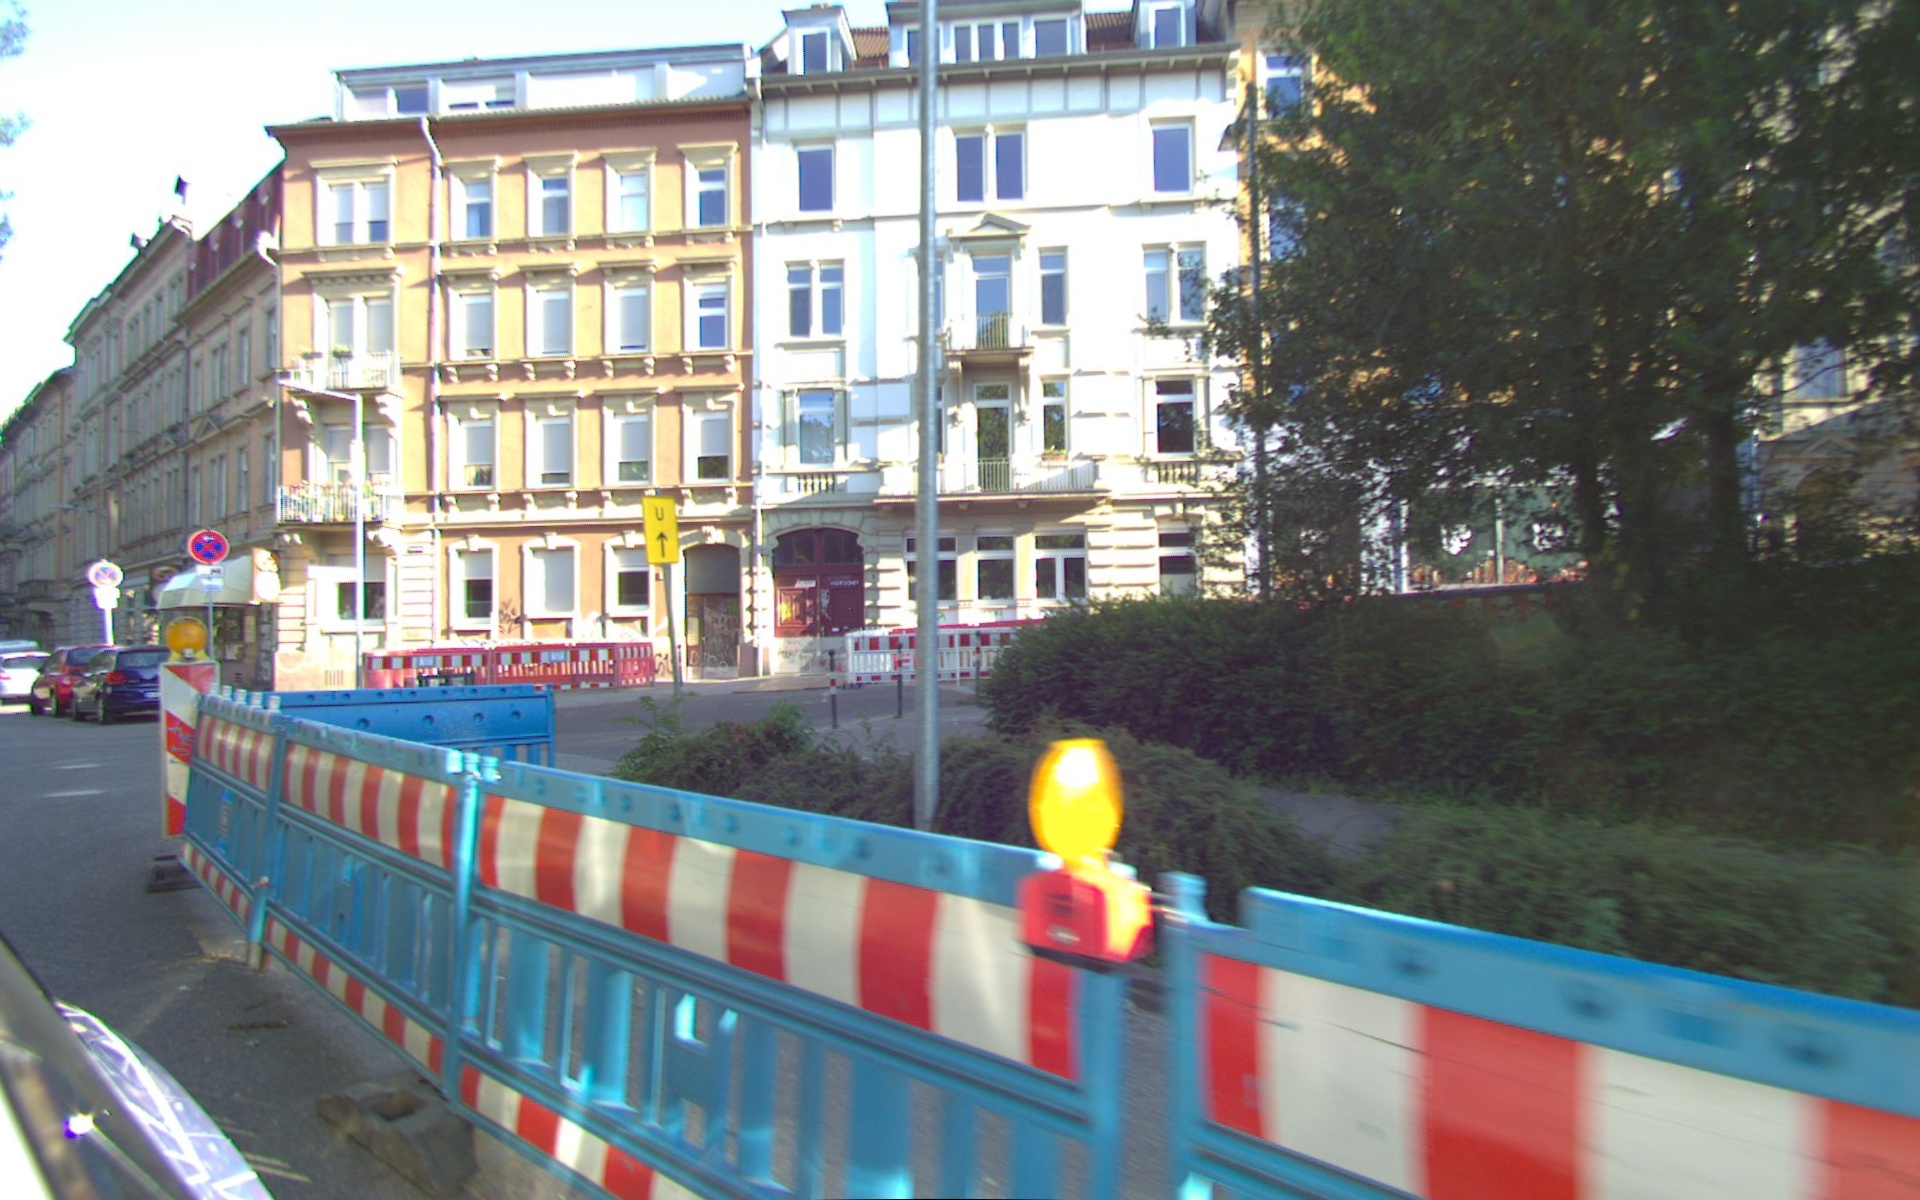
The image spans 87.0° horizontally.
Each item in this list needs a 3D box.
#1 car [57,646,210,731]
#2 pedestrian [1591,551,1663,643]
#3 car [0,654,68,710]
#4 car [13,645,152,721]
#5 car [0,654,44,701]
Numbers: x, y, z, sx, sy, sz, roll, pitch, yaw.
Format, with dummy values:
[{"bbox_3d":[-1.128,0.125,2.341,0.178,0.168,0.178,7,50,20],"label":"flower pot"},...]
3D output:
[{"bbox_3d":[-16.314,1.694,19.919,3.997,1.469,1.652,-3,-3,40],"label":"car"},{"bbox_3d":[15.209,-0.053,23.109,0.947,2.029,0.941,-2,-2,7],"label":"pedestrian"},{"bbox_3d":[-27.410,2.366,29.413,3.994,1.448,1.707,-4,-2,41],"label":"car"},{"bbox_3d":[-19.753,1.824,22.740,3.995,1.542,1.653,-3,-3,38],"label":"car"},{"bbox_3d":[-31.435,2.533,32.968,4.296,1.448,1.747,-4,-3,39],"label":"car"}]
